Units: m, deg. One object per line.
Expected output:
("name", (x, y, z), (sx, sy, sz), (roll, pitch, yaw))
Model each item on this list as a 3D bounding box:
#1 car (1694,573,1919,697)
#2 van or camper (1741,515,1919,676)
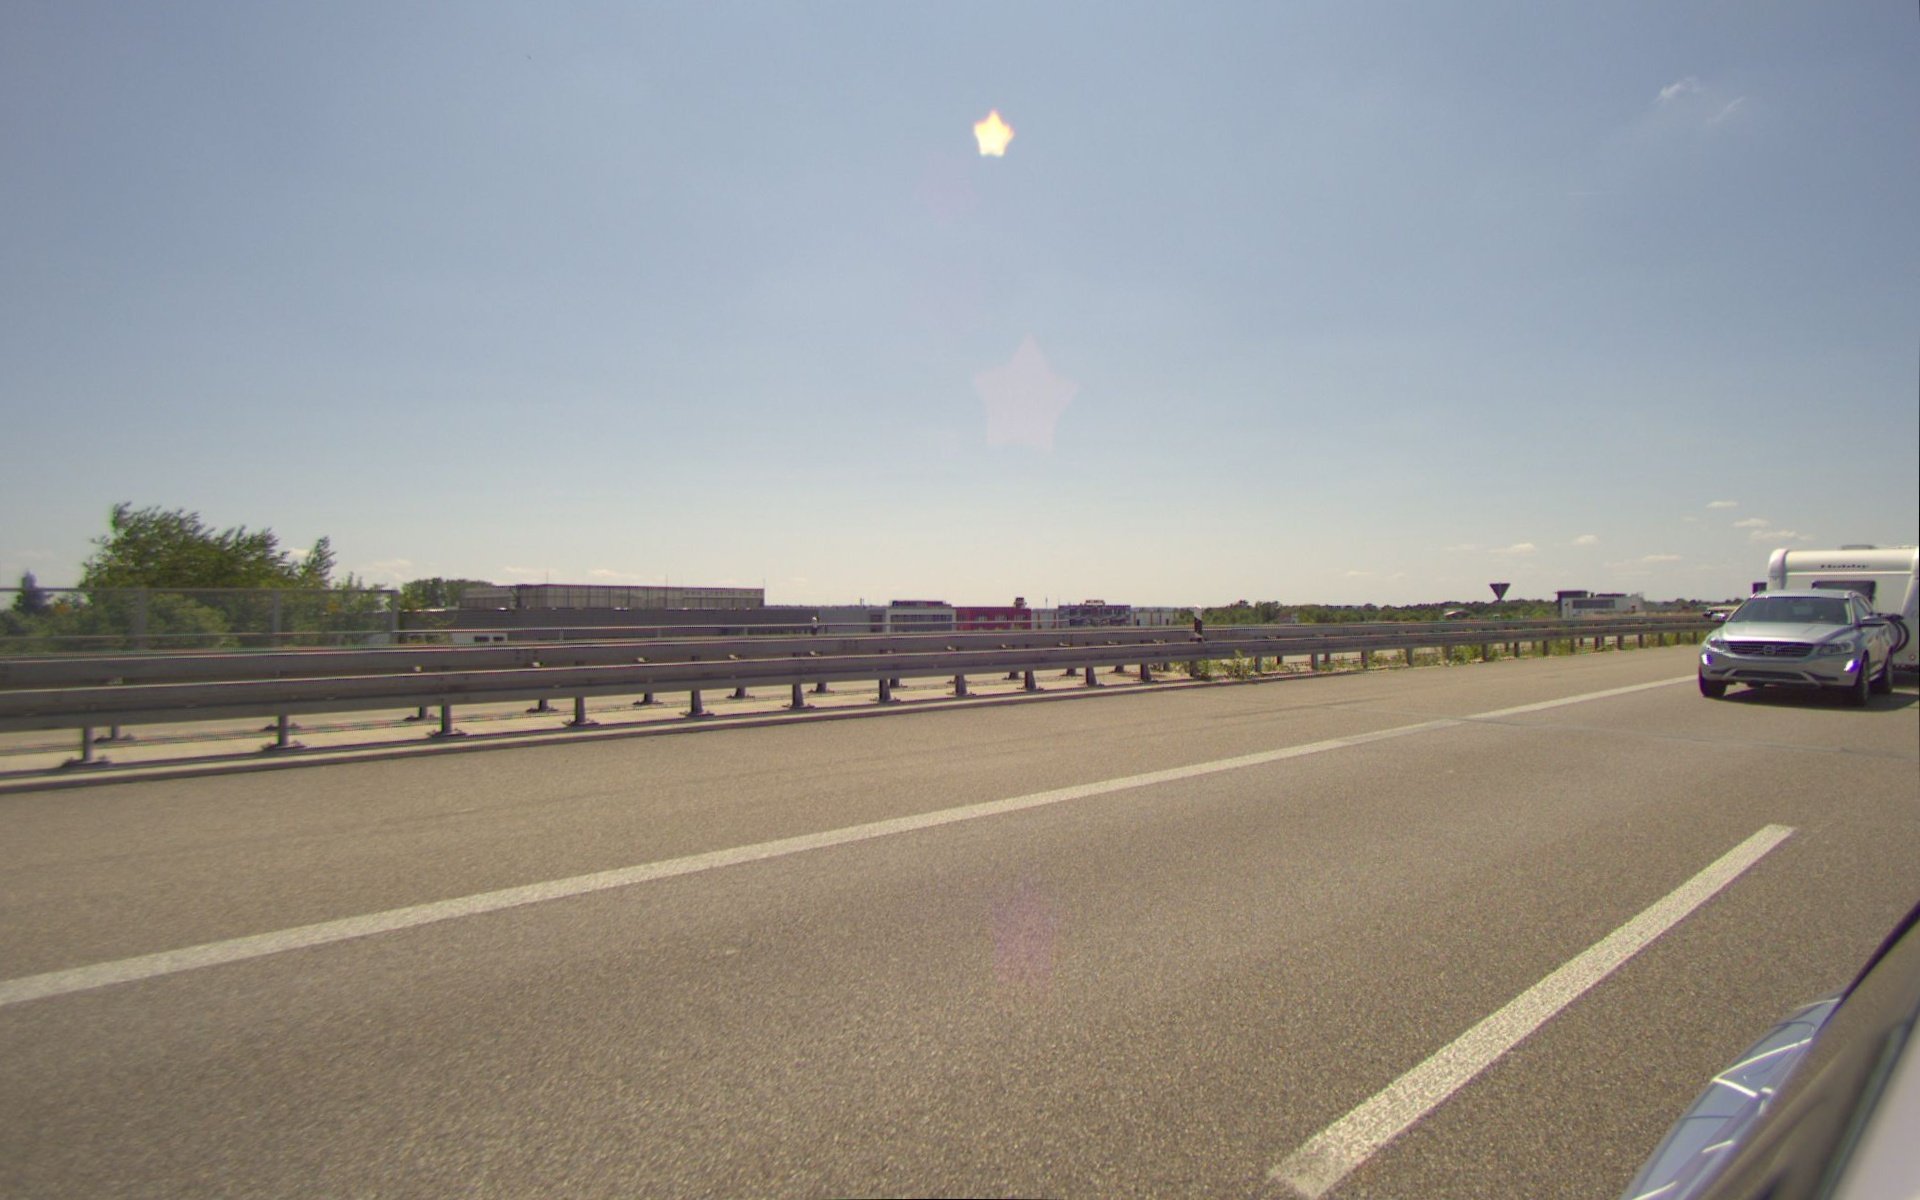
("car", (13.247, 0.473, 15.700), (4.816, 1.643, 1.884), (1, 0, -39))
("van or camper", (17.889, -0.039, 19.793), (7.676, 2.626, 2.518), (1, 0, -40))
